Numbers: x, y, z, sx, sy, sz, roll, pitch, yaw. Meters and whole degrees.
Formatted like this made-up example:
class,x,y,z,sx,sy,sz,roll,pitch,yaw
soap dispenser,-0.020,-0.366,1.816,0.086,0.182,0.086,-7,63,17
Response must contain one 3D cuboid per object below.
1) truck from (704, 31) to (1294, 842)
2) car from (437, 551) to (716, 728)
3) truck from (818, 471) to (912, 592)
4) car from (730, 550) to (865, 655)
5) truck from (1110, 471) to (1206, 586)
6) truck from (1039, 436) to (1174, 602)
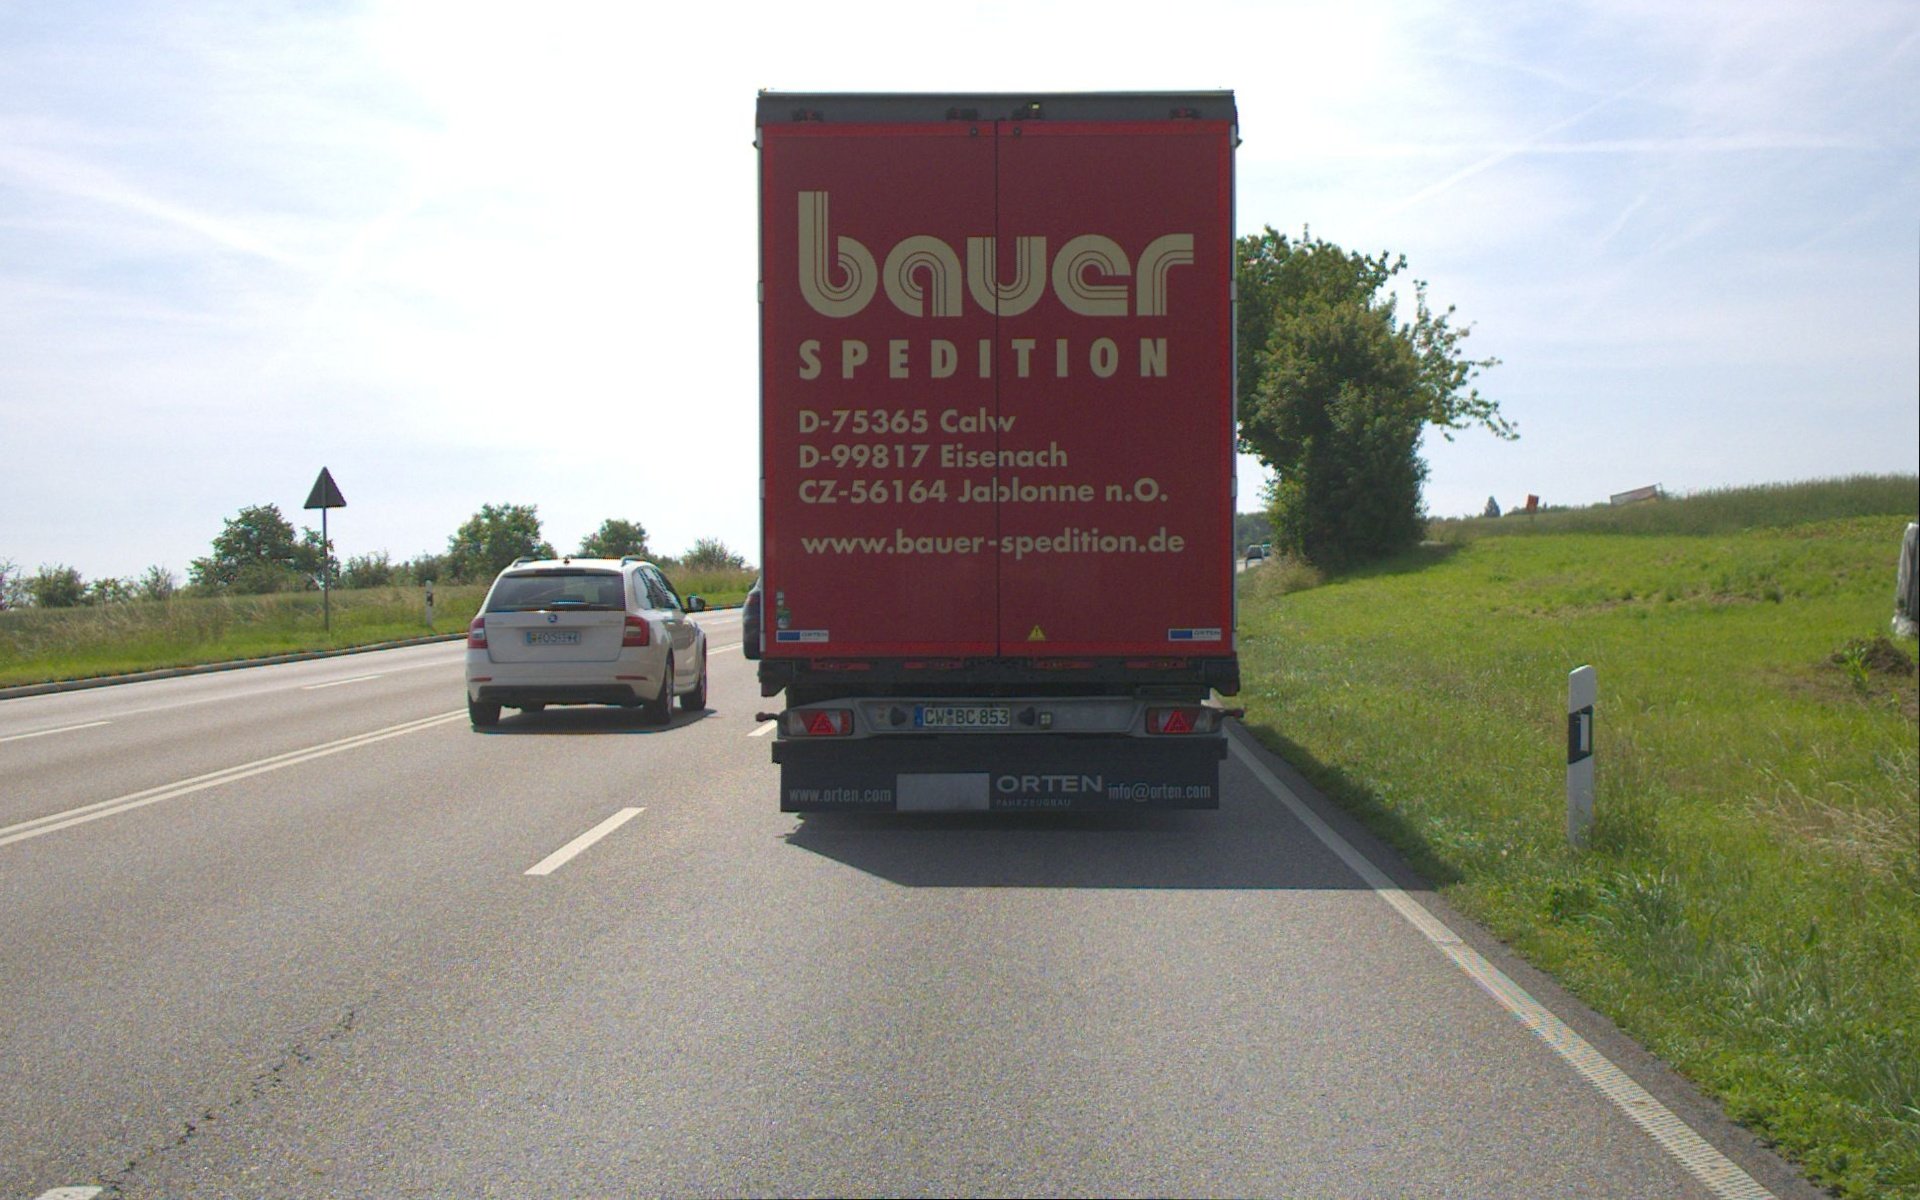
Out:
class,x,y,z,sx,sy,sz,roll,pitch,yaw
truck,0.373,-0.938,26.151,3.007,4.166,16.714,1,1,1
car,-3.395,0.297,31.272,1.821,1.467,4.788,1,1,2
truck,-3.319,-2.415,121.989,2.617,4.087,6.087,-2,1,4
car,-2.347,0.009,50.581,1.705,1.467,4.811,0,1,1
truck,7.424,-2.579,126.720,3.047,3.897,18.395,-1,1,5
truck,3.963,-2.036,89.428,3.047,3.897,15.613,-1,1,4
